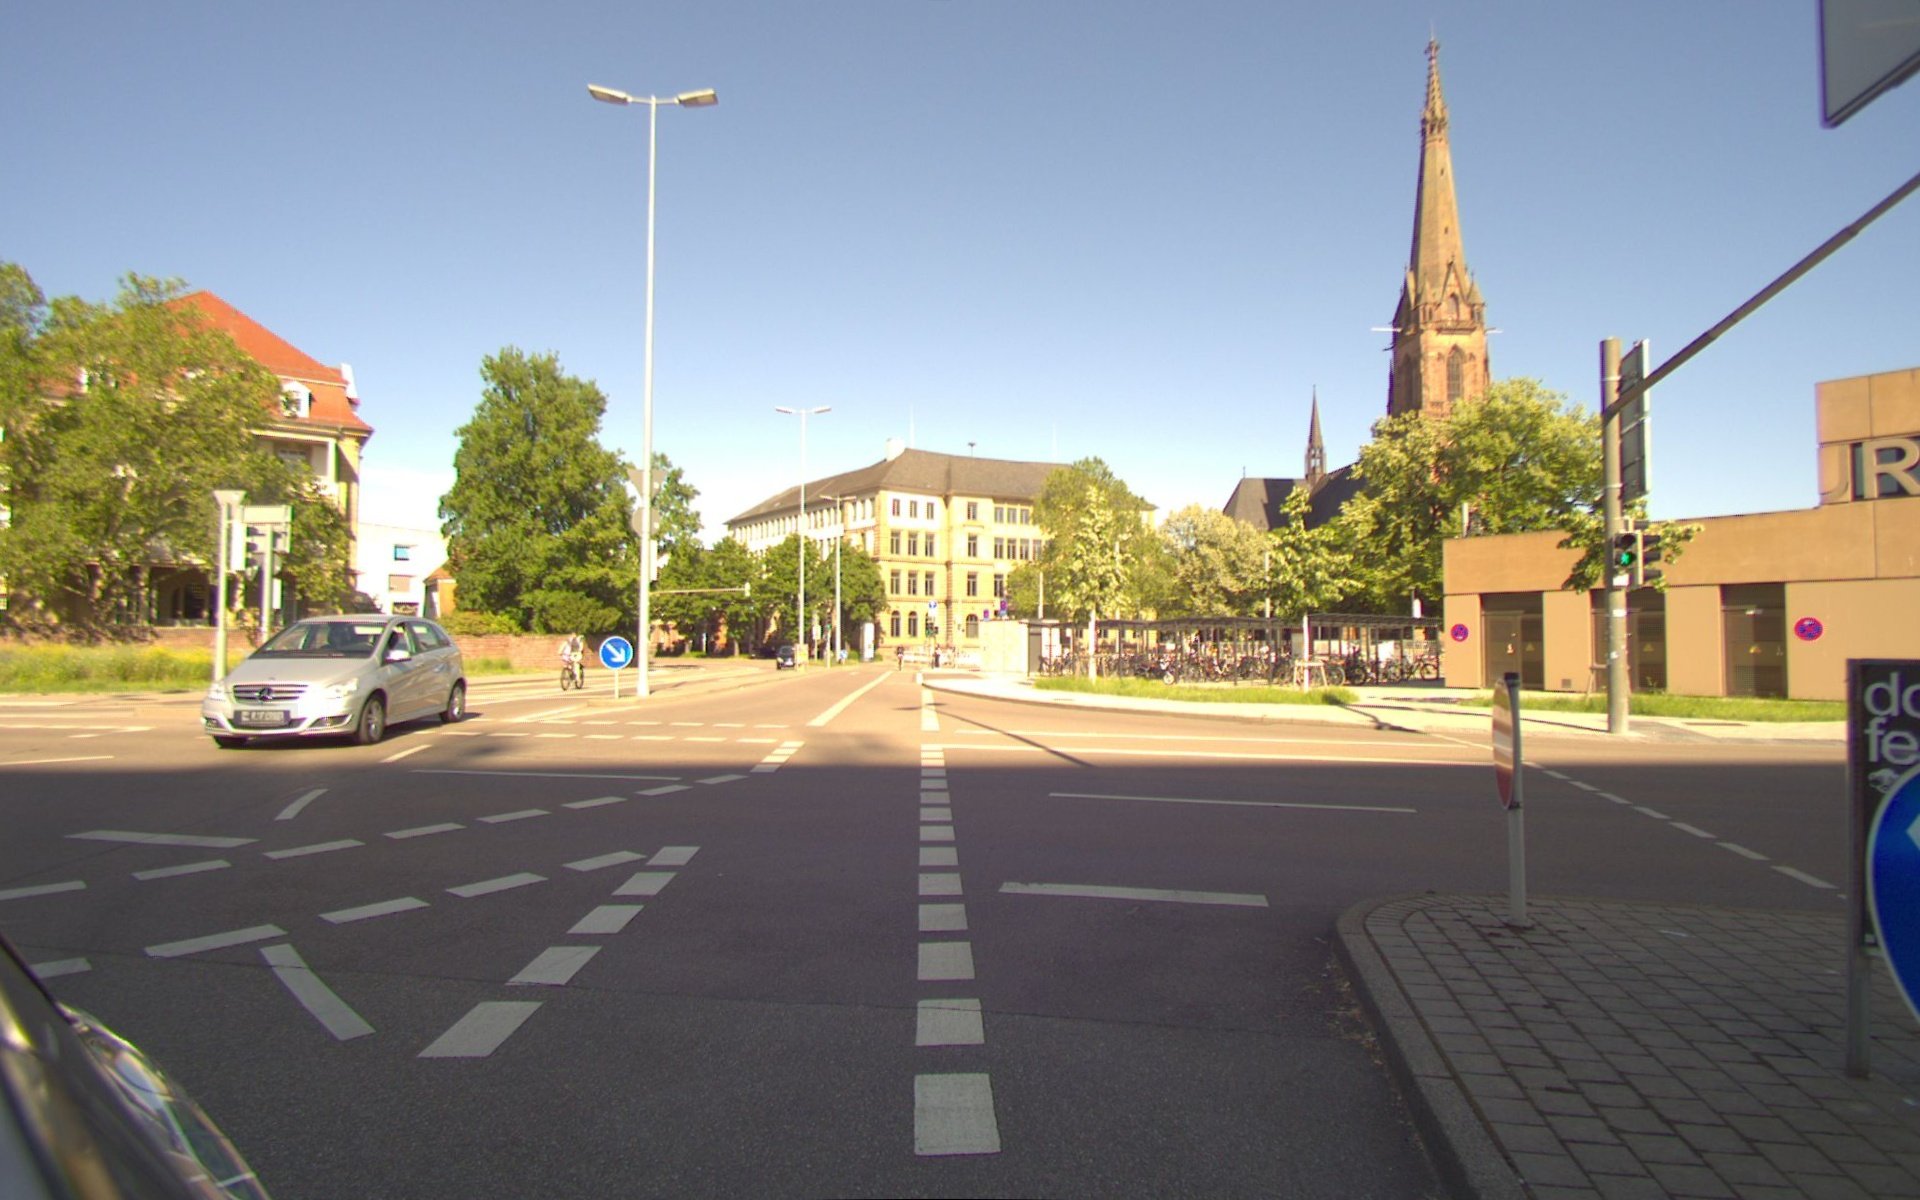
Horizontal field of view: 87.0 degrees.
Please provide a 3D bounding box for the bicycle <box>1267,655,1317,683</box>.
[{"bbox_3d":[12.719,2.638,38.817,0.559,1.046,1.791,4,-4,-39],"label":"bicycle"}]

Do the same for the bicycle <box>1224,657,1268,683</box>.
[{"bbox_3d":[12.016,2.921,42.520,0.559,1.046,1.791,4,-4,-39],"label":"bicycle"}]

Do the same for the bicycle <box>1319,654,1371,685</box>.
[{"bbox_3d":[13.950,2.503,36.666,0.558,1.046,1.793,3,-3,-32],"label":"bicycle"}]

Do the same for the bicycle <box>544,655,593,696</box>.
[{"bbox_3d":[-11.774,2.252,30.494,0.767,1.174,1.968,-1,-3,-2],"label":"bicycle"}]

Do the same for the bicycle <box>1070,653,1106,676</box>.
[{"bbox_3d":[6.036,3.067,47.887,0.559,1.046,1.791,4,-4,-39],"label":"bicycle"}]

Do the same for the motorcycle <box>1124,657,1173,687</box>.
[{"bbox_3d":[7.326,2.807,39.403,0.585,1.128,1.990,2,-4,-35],"label":"motorcycle"}]

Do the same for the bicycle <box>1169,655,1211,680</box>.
[{"bbox_3d":[9.922,2.907,43.630,0.559,1.046,1.791,4,-4,-39],"label":"bicycle"}]

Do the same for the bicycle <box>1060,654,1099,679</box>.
[{"bbox_3d":[5.243,2.932,44.575,0.559,1.046,1.791,4,-4,-39],"label":"bicycle"}]

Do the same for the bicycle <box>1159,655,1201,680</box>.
[{"bbox_3d":[9.401,2.876,43.219,0.559,1.046,1.791,4,-4,-39],"label":"bicycle"}]

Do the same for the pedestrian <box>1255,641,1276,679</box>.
[{"bbox_3d":[14.082,2.750,46.683,0.608,1.736,0.683,2,-4,-40],"label":"pedestrian"}]

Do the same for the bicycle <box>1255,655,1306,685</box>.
[{"bbox_3d":[11.953,2.611,37.773,0.559,1.046,1.791,4,-4,-39],"label":"bicycle"}]

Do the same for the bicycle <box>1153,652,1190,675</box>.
[{"bbox_3d":[10.101,3.041,48.433,0.559,1.046,1.791,4,-4,-39],"label":"bicycle"}]

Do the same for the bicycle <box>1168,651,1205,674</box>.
[{"bbox_3d":[11.021,3.033,49.265,0.559,1.046,1.791,4,-4,-39],"label":"bicycle"}]

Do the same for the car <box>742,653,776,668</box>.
[{"bbox_3d":[-24.992,7.533,125.958,1.999,1.830,3.749,-3,-4,41],"label":"car"}]

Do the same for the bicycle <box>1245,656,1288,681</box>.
[{"bbox_3d":[13.145,2.924,43.450,0.559,1.046,1.791,4,-4,-39],"label":"bicycle"}]

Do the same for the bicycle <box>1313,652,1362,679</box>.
[{"bbox_3d":[15.225,2.644,40.841,0.559,1.046,1.791,4,-4,-39],"label":"bicycle"}]

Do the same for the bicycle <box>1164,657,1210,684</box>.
[{"bbox_3d":[8.951,2.774,39.972,0.559,1.046,1.791,4,-4,-39],"label":"bicycle"}]

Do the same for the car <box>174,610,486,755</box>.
[{"bbox_3d":[-8.198,1.043,13.768,1.744,1.606,4.644,-1,-3,-6],"label":"car"}]

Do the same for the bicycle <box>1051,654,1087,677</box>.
[{"bbox_3d":[5.045,3.032,47.045,0.559,1.046,1.791,4,-4,-39],"label":"bicycle"}]

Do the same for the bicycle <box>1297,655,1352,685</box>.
[{"bbox_3d":[12.965,2.484,36.038,0.559,1.046,1.791,4,-4,-39],"label":"bicycle"}]

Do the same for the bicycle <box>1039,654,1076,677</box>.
[{"bbox_3d":[4.476,3.010,46.566,0.559,1.046,1.791,4,-4,-39],"label":"bicycle"}]

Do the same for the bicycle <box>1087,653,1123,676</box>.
[{"bbox_3d":[6.950,3.113,48.686,0.559,1.046,1.791,4,-4,-39],"label":"bicycle"}]

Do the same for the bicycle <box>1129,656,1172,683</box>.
[{"bbox_3d":[7.766,2.827,41.402,0.559,1.046,1.791,4,-4,-39],"label":"bicycle"}]

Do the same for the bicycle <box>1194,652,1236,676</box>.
[{"bbox_3d":[11.275,2.826,44.800,0.559,1.046,1.791,4,-4,-39],"label":"bicycle"}]

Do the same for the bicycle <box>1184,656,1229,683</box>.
[{"bbox_3d":[9.912,2.795,40.770,0.559,1.046,1.791,4,-4,-39],"label":"bicycle"}]

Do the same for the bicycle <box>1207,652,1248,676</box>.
[{"bbox_3d":[11.967,2.862,45.312,0.559,1.046,1.791,4,-4,-39],"label":"bicycle"}]

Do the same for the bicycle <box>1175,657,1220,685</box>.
[{"bbox_3d":[9.459,2.817,40.383,0.559,1.046,1.791,4,-4,-39],"label":"bicycle"}]

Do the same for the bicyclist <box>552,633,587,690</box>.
[{"bbox_3d":[-11.786,1.842,30.594,0.774,1.675,0.777,-1,-2,-2],"label":"bicyclist"}]

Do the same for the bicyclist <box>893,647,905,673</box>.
[{"bbox_3d":[-3.813,3.766,63.739,0.711,1.633,0.978,1,-3,-2],"label":"bicyclist"}]

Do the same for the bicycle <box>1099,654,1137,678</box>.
[{"bbox_3d":[7.192,2.978,46.093,0.559,1.046,1.791,4,-4,-39],"label":"bicycle"}]

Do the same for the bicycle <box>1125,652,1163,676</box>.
[{"bbox_3d":[8.586,2.991,47.278,0.559,1.046,1.791,4,-4,-39],"label":"bicycle"}]

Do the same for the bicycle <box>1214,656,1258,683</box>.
[{"bbox_3d":[11.474,2.890,42.077,0.559,1.046,1.791,4,-4,-39],"label":"bicycle"}]

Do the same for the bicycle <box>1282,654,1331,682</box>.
[{"bbox_3d":[13.489,2.634,39.430,0.559,1.046,1.791,4,-4,-39],"label":"bicycle"}]

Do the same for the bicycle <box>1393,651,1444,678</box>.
[{"bbox_3d":[18.258,2.565,40.337,0.559,1.046,1.791,4,-4,-39],"label":"bicycle"}]

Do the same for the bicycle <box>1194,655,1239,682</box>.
[{"bbox_3d":[10.457,2.790,41.262,0.559,1.046,1.791,4,-4,-39],"label":"bicycle"}]

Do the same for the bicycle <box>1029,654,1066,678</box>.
[{"bbox_3d":[3.984,3.011,46.159,0.559,1.046,1.791,4,-4,-39],"label":"bicycle"}]

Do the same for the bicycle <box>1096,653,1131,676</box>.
[{"bbox_3d":[7.445,3.127,49.117,0.559,1.046,1.791,4,-4,-39],"label":"bicycle"}]

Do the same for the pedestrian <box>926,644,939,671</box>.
[{"bbox_3d":[-1.764,3.728,65.245,0.779,1.694,0.648,-2,-3,-1],"label":"pedestrian"}]

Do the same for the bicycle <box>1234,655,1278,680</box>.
[{"bbox_3d":[12.570,2.857,42.968,0.559,1.046,1.791,4,-4,-39],"label":"bicycle"}]

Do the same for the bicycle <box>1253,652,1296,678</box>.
[{"bbox_3d":[13.615,2.806,43.824,0.559,1.046,1.791,4,-4,-39],"label":"bicycle"}]

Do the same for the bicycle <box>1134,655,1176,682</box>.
[{"bbox_3d":[8.070,2.838,41.940,0.559,1.046,1.791,4,-4,-39],"label":"bicycle"}]

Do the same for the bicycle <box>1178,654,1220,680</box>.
[{"bbox_3d":[10.394,2.911,44.013,0.559,1.046,1.791,4,-4,-39],"label":"bicycle"}]

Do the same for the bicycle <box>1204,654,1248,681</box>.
[{"bbox_3d":[10.939,2.766,41.666,0.559,1.046,1.791,4,-4,-39],"label":"bicycle"}]

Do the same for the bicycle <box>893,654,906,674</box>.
[{"bbox_3d":[-3.811,4.011,63.639,0.737,1.174,1.871,1,-3,-2],"label":"bicycle"}]

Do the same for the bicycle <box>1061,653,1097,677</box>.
[{"bbox_3d":[5.568,3.044,47.478,0.559,1.046,1.791,4,-4,-39],"label":"bicycle"}]

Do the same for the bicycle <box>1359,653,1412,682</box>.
[{"bbox_3d":[16.102,2.561,38.315,0.559,1.046,1.791,4,-4,-39],"label":"bicycle"}]

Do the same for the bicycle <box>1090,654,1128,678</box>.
[{"bbox_3d":[6.726,2.960,45.728,0.559,1.046,1.791,4,-4,-39],"label":"bicycle"}]

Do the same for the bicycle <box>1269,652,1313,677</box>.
[{"bbox_3d":[14.583,2.839,44.620,0.559,1.046,1.791,4,-4,-39],"label":"bicycle"}]

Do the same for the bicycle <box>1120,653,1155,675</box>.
[{"bbox_3d":[8.806,3.156,50.241,0.559,1.046,1.791,4,-4,-39],"label":"bicycle"}]

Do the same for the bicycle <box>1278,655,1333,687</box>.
[{"bbox_3d":[12.134,2.489,35.580,0.559,1.046,1.791,4,-4,-39],"label":"bicycle"}]

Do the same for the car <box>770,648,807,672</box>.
[{"bbox_3d":[-11.664,4.088,68.704,1.966,1.484,4.310,-2,-3,-16],"label":"car"}]

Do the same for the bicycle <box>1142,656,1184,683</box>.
[{"bbox_3d":[8.491,2.894,42.330,0.559,1.046,1.791,4,-4,-39],"label":"bicycle"}]

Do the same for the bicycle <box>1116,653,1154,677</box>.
[{"bbox_3d":[8.105,2.998,46.871,0.559,1.046,1.791,4,-4,-39],"label":"bicycle"}]
